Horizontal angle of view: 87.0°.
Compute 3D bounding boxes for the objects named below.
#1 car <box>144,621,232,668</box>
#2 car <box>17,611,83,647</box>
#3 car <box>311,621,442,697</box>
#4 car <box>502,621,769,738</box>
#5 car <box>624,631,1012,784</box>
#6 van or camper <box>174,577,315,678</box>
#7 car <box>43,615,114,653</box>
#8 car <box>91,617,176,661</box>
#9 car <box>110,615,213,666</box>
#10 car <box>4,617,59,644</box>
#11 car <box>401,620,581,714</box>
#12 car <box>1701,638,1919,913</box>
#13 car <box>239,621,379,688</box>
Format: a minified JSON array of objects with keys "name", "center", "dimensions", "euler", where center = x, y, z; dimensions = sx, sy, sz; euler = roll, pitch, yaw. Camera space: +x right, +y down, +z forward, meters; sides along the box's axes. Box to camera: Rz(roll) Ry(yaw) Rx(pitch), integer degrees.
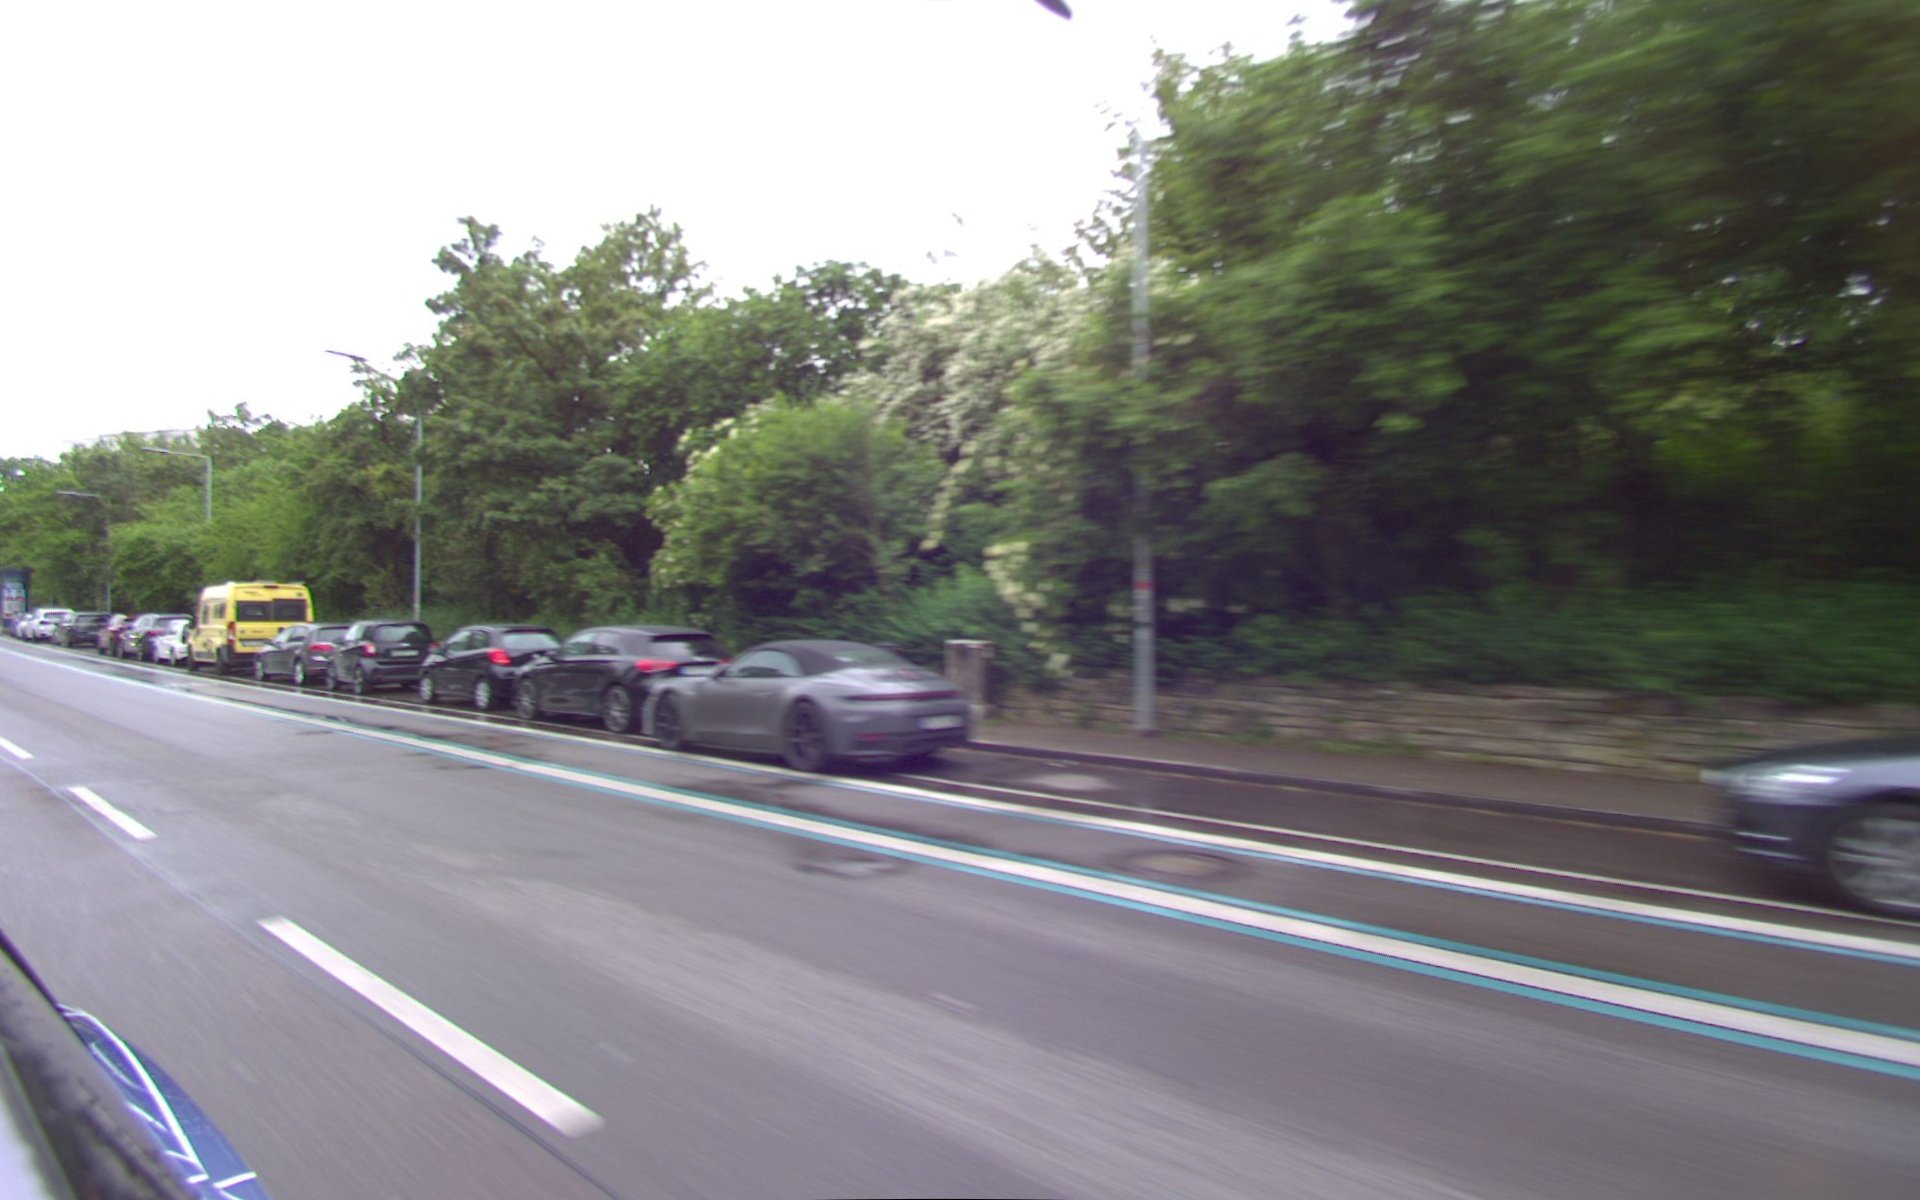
[{"name":"car","center":[-25.473,1.431,33.358],"dimensions":[3.655,1.460,1.600],"euler":[-1,-2,42]},{"name":"car","center":[-47.764,1.497,53.094],"dimensions":[4.957,1.778,1.973],"euler":[0,0,41]},{"name":"car","center":[-12.710,1.222,21.988],"dimensions":[3.138,1.521,1.585],"euler":[-1,-1,42]},{"name":"car","center":[-4.866,1.042,14.897],"dimensions":[4.138,1.463,1.972],"euler":[-1,-1,43]},{"name":"car","center":[-1.742,1.043,11.341],"dimensions":[4.468,1.314,1.850],"euler":[-1,-1,41]},{"name":"van or camper","center":[-20.775,0.767,29.272],"dimensions":[5.681,2.647,2.121],"euler":[-1,-1,42]},{"name":"car","center":[-41.714,1.574,47.865],"dimensions":[4.565,1.661,1.715],"euler":[-1,0,38]},{"name":"car","center":[-32.869,1.518,40.198],"dimensions":[4.488,1.629,1.899],"euler":[-1,-2,42]},{"name":"car","center":[-28.801,1.420,36.462],"dimensions":[4.611,1.713,1.974],"euler":[-1,-1,39]},{"name":"car","center":[-52.319,1.684,56.997],"dimensions":[4.704,1.471,1.701],"euler":[-1,-1,40]},{"name":"car","center":[-8.612,1.136,18.437],"dimensions":[3.976,1.521,1.585],"euler":[-1,-1,42]},{"name":"car","center":[6.218,0.884,4.830],"dimensions":[4.191,1.310,1.678],"euler":[-1,-1,42]},{"name":"car","center":[-16.009,1.285,24.830],"dimensions":[4.144,1.510,1.663],"euler":[-1,-2,39]}]
